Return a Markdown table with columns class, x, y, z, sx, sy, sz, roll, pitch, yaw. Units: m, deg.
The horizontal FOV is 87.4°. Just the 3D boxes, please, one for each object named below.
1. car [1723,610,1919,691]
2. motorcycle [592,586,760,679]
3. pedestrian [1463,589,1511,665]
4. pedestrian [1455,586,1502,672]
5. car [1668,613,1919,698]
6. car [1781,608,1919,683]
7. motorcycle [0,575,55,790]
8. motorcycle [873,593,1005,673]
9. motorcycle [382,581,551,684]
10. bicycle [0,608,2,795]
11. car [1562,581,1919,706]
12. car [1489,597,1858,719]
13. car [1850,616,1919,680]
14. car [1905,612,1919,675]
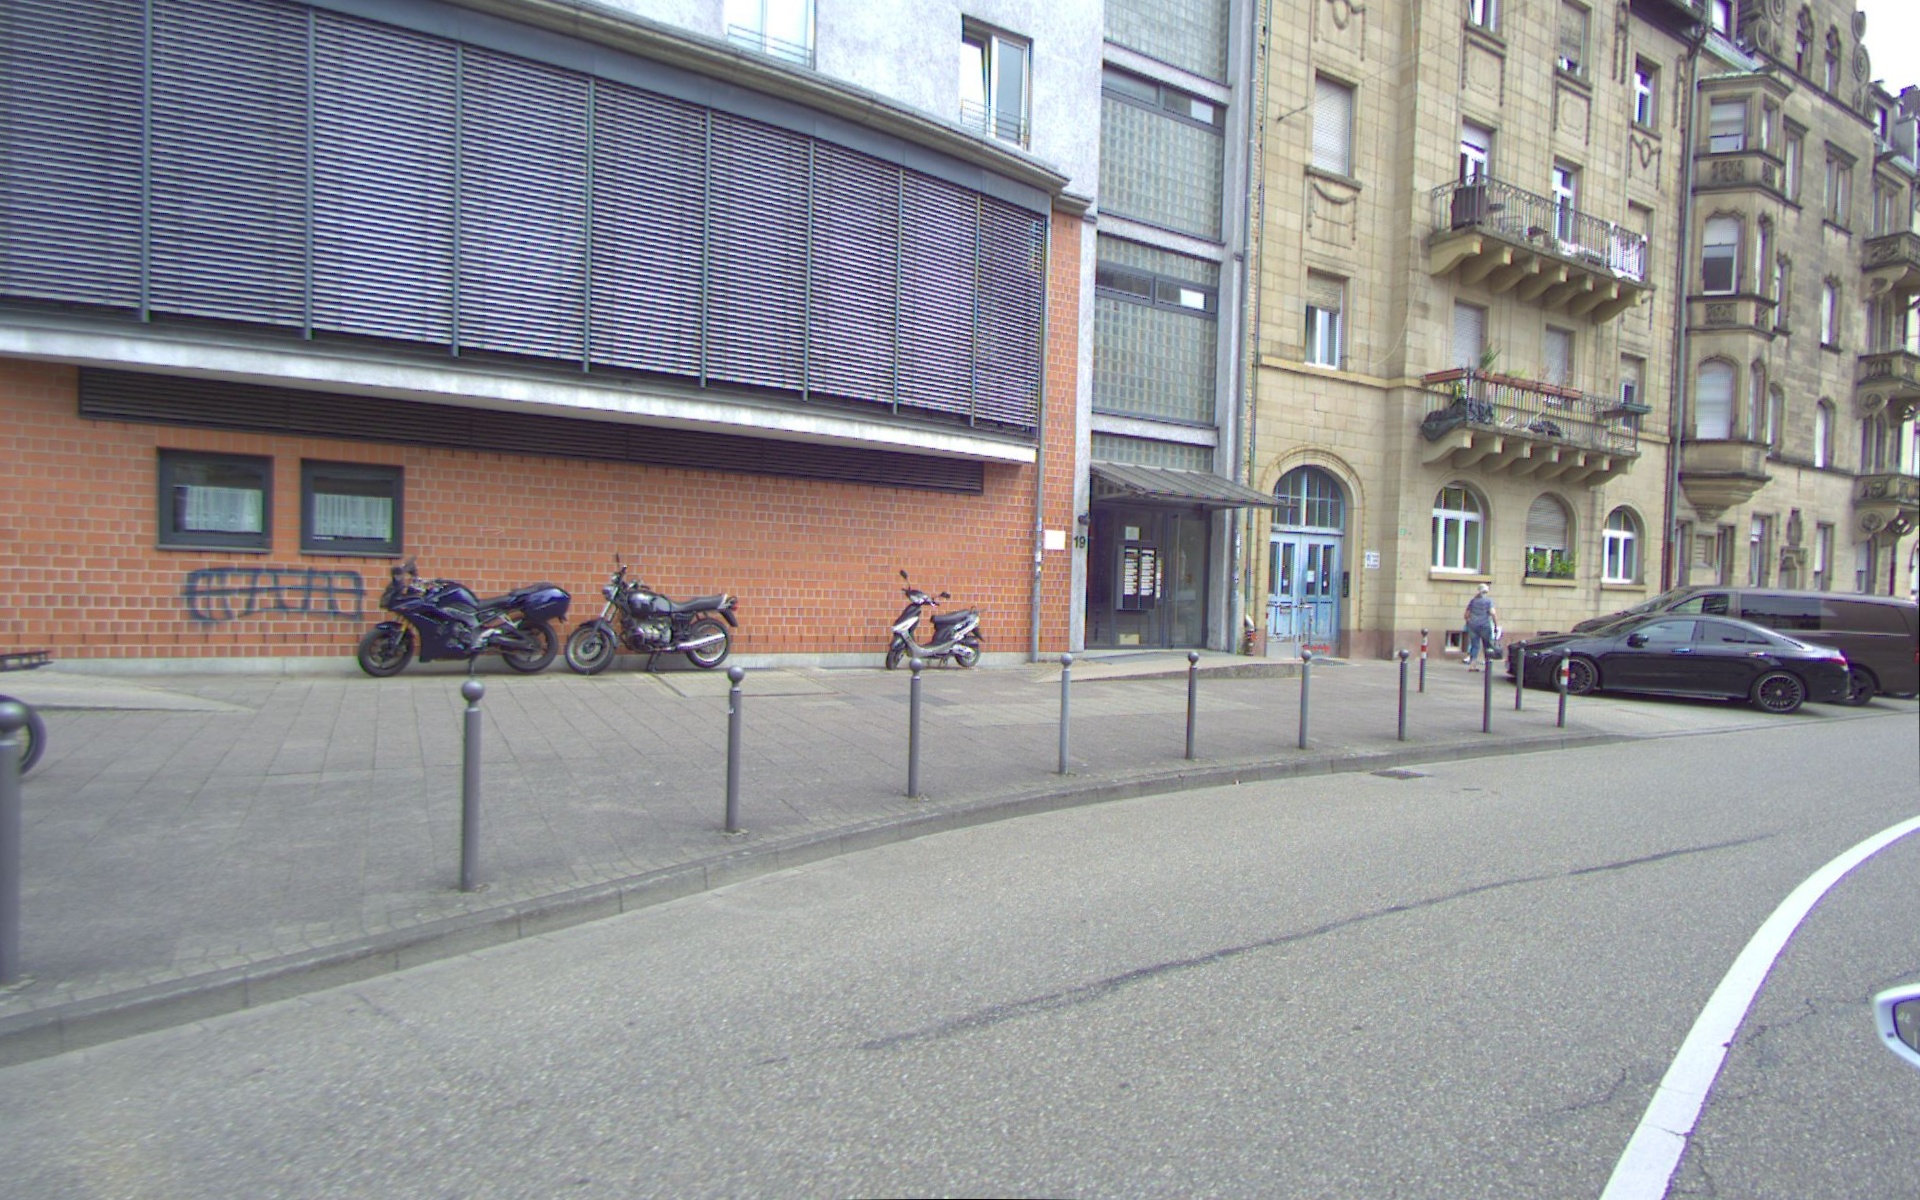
| class | x | y | z | sx | sy | sz | roll | pitch | yaw |
| --- | --- | --- | --- | --- | --- | --- | --- | --- | --- |
| car | 18.862 | 1.045 | 21.345 | 3.922 | 1.523 | 1.630 | 2 | 1 | 26 |
| motorcycle | -3.531 | 0.386 | 12.593 | 1.951 | 1.063 | 0.578 | 1 | 3 | -41 |
| pedestrian | 10.740 | 0.540 | 20.484 | 0.503 | 1.505 | 0.656 | 1 | 1 | -32 |
| pedestrian | 9.722 | 0.535 | 18.832 | 0.642 | 1.566 | 0.506 | 3 | 1 | 42 |
| car | 16.668 | 1.056 | 19.879 | 3.933 | 1.428 | 1.796 | 2 | 1 | 20 |
| car | 21.664 | 1.042 | 23.126 | 3.939 | 1.585 | 1.794 | 2 | 1 | 29 |
| motorcycle | -6.224 | 0.447 | 5.518 | 1.757 | 1.188 | 0.581 | 1 | 2 | -29 |
| motorcycle | -0.288 | 0.463 | 14.286 | 1.772 | 1.063 | 0.581 | 1 | 2 | -29 |
| motorcycle | -5.505 | 0.352 | 11.226 | 1.638 | 1.063 | 0.580 | 1 | 3 | -32 |
| bicycle | -5.195 | 0.586 | 4.873 | 0.396 | 1.040 | 1.400 | 1 | 2 | -27 |
| car | 14.198 | 0.699 | 18.444 | 5.172 | 1.935 | 2.119 | 2 | 1 | 26 |
| car | 11.539 | 0.866 | 16.702 | 4.581 | 1.428 | 1.899 | 5 | 3 | 22 |
| car | 24.311 | 1.215 | 24.400 | 3.616 | 1.501 | 1.740 | 2 | 1 | 25 |
| car | 27.324 | 1.215 | 26.026 | 3.706 | 1.674 | 1.723 | 2 | 1 | 25 |
